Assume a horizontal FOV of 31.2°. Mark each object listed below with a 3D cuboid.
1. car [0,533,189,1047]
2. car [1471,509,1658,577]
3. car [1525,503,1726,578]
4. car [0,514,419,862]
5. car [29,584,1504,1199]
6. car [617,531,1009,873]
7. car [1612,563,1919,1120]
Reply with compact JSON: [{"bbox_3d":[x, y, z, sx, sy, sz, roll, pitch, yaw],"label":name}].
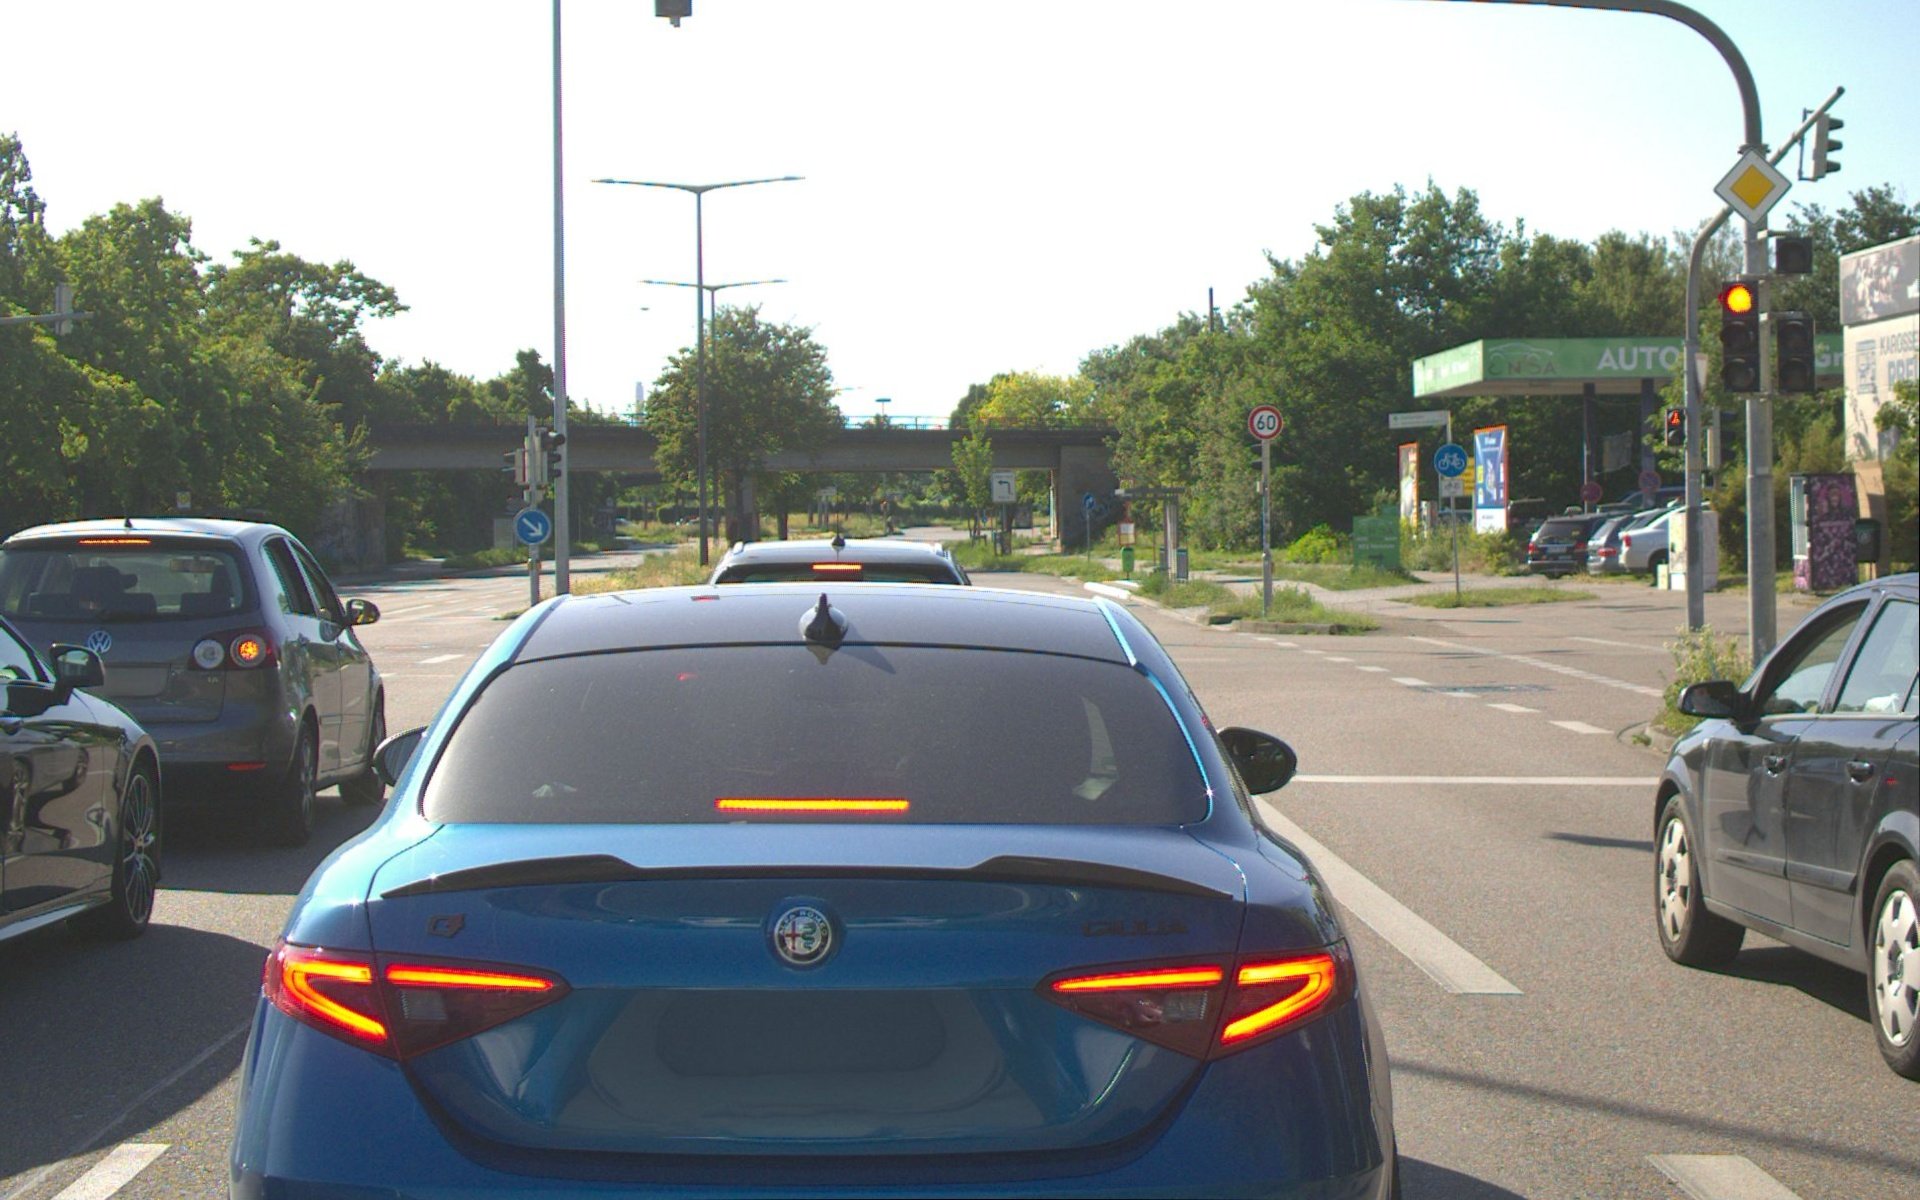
[{"bbox_3d":[-3.806,0.560,10.846,1.812,1.546,4.544,0,1,-1],"label":"car"},{"bbox_3d":[14.657,-1.374,83.399,3.986,1.547,2.001,1,0,-18],"label":"car"},{"bbox_3d":[14.465,-1.293,74.897,3.987,1.547,2.000,1,0,1],"label":"car"},{"bbox_3d":[-3.962,0.373,17.631,1.812,1.546,4.354,1,1,-2],"label":"car"},{"bbox_3d":[-0.225,0.703,6.330,1.910,1.418,3.719,1,1,1],"label":"car"},{"bbox_3d":[-0.629,0.437,17.140,1.704,1.492,3.719,1,0,1],"label":"car"},{"bbox_3d":[3.369,0.628,10.801,1.734,1.437,4.372,1,1,-1],"label":"car"}]
